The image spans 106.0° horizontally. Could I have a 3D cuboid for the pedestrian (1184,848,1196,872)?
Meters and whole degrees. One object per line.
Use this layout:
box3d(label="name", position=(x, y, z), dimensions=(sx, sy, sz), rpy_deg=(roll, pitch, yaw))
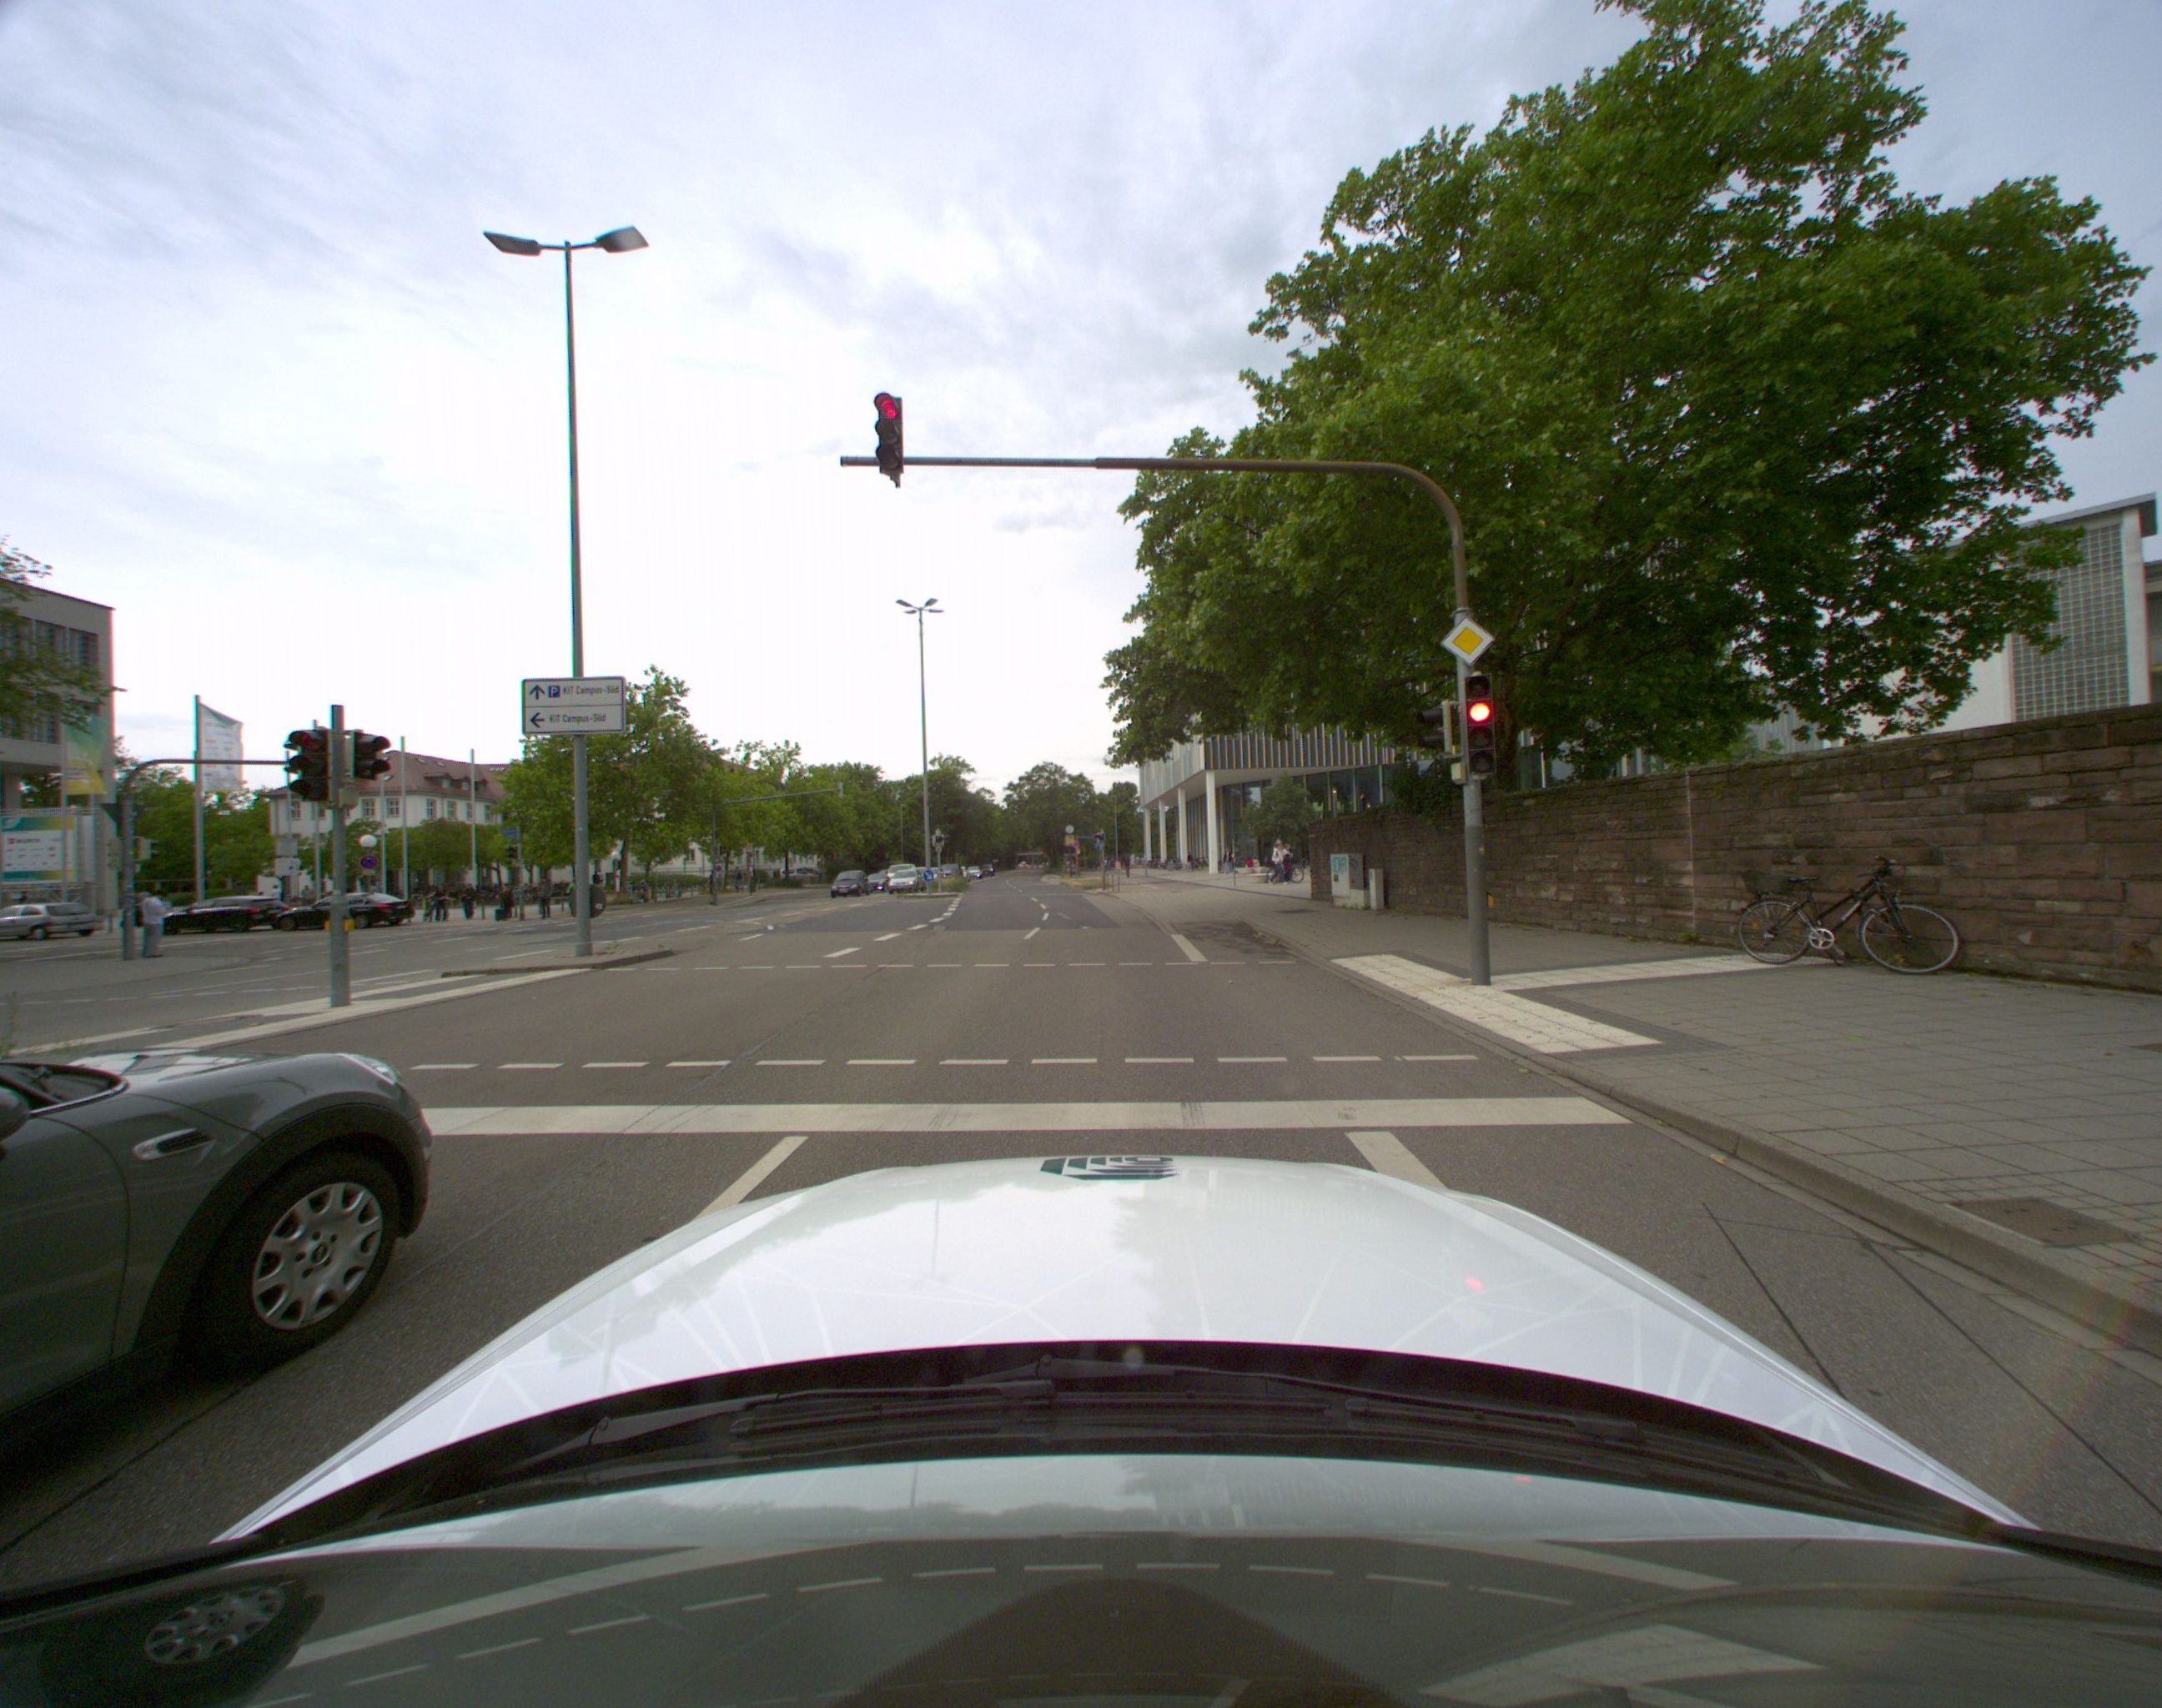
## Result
box3d(label="pedestrian", position=(9.585, 0.521, 71.813), dimensions=(0.889, 2.014, 0.845), rpy_deg=(-2, -1, -1))

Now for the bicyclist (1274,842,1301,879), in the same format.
box3d(label="bicyclist", position=(9.305, 0.297, 36.735), dimensions=(0.957, 1.645, 0.740), rpy_deg=(-1, -1, 37))

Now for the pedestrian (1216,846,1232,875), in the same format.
box3d(label="pedestrian", position=(9.938, 0.446, 56.693), dimensions=(0.840, 2.014, 0.894), rpy_deg=(-2, -1, -1))

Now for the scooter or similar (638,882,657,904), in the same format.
box3d(label="scooter or similar", position=(-23.868, 2.163, 44.855), dimensions=(0.359, 1.140, 1.318), rpy_deg=(-3, -1, -2))

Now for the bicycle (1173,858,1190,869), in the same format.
box3d(label="bicycle", position=(10.157, 0.936, 82.182), dimensions=(1.597, 0.936, 0.570), rpy_deg=(-5, 0, 8))

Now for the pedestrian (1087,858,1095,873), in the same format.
box3d(label="pedestrian", position=(1.394, 1.540, 112.258), dimensions=(0.924, 2.014, 1.037), rpy_deg=(-2, -1, -7))

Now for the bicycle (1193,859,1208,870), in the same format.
box3d(label="bicycle", position=(11.008, 0.949, 75.109), dimensions=(1.496, 0.929, 0.435), rpy_deg=(-3, 1, -41))

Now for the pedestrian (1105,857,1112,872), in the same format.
box3d(label="pedestrian", position=(3.770, 1.392, 112.423), dimensions=(0.822, 2.014, 0.719), rpy_deg=(-3, -1, -3))

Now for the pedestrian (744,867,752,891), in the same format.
box3d(label="pedestrian", position=(-24.216, 1.814, 59.239), dimensions=(0.419, 1.739, 0.433), rpy_deg=(0, -1, -9))

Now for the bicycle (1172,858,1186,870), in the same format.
box3d(label="bicycle", position=(9.216, 0.973, 76.659), dimensions=(0.608, 1.080, 1.954), rpy_deg=(-4, 0, -13))

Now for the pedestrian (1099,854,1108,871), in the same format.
box3d(label="pedestrian", position=(2.834, 1.087, 103.421), dimensions=(0.924, 2.014, 1.037), rpy_deg=(-2, -1, -7))

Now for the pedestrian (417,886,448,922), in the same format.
box3d(label="pedestrian", position=(-28.356, 2.181, 35.627), dimensions=(0.825, 1.513, 0.968), rpy_deg=(0, -1, -22))

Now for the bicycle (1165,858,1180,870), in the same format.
box3d(label="bicycle", position=(9.306, 1.003, 83.058), dimensions=(1.396, 1.043, 0.559), rpy_deg=(-4, -1, -2))

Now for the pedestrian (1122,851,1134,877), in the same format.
box3d(label="pedestrian", position=(3.797, 0.831, 65.920), dimensions=(0.840, 2.013, 0.894), rpy_deg=(-4, -1, -1))

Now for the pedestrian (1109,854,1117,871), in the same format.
box3d(label="pedestrian", position=(4.043, 1.065, 103.388), dimensions=(0.923, 2.014, 1.038), rpy_deg=(-2, -1, -4))

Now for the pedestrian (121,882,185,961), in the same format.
box3d(label="pedestrian", position=(-25.177, 1.812, 22.109), dimensions=(0.664, 2.058, 0.852), rpy_deg=(-2, 0, -2))

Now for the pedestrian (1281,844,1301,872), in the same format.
box3d(label="pedestrian", position=(14.216, 0.282, 55.063), dimensions=(0.849, 1.836, 0.884), rpy_deg=(-2, -1, -39))

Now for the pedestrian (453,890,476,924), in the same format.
box3d(label="pedestrian", position=(-27.254, 2.328, 36.016), dimensions=(0.702, 1.428, 0.991), rpy_deg=(0, -1, -30))

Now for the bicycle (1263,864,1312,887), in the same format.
box3d(label="bicycle", position=(9.282, 0.965, 36.659), dimensions=(1.950, 1.018, 0.801), rpy_deg=(-1, -1, 37))

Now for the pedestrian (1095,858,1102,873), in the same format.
box3d(label="pedestrian", position=(2.373, 1.515, 111.940), dimensions=(0.823, 2.014, 0.718), rpy_deg=(-2, -1, -7))

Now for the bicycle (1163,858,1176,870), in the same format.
box3d(label="bicycle", position=(8.624, 0.957, 79.437), dimensions=(0.635, 1.140, 2.196), rpy_deg=(-5, 0, -6))

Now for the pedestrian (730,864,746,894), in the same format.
box3d(label="pedestrian", position=(-23.570, 1.701, 55.970), dimensions=(0.801, 2.014, 0.923), rpy_deg=(0, -1, -9))

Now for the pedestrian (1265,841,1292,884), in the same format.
box3d(label="pedestrian", position=(8.636, 0.371, 35.575), dimensions=(0.773, 1.795, 0.795), rpy_deg=(-3, -1, 41))

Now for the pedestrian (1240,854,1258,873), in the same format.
box3d(label="pedestrian", position=(11.164, 0.653, 54.032), dimensions=(0.834, 1.206, 0.900), rpy_deg=(-3, -1, 32))

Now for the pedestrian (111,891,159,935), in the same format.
box3d(label="pedestrian", position=(-45.282, 2.807, 38.991), dimensions=(1.000, 2.014, 1.016), rpy_deg=(-2, -1, -3))

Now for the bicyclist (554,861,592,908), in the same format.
box3d(label="bicyclist", position=(-22.453, 1.311, 36.011), dimensions=(1.185, 2.014, 1.272), rpy_deg=(0, -1, -22))

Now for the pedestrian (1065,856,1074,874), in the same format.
box3d(label="pedestrian", position=(-1.340, 1.304, 94.979), dimensions=(0.910, 2.013, 0.853), rpy_deg=(-4, 1, -3))

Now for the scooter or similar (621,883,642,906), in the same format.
box3d(label="scooter or similar", position=(-23.842, 2.149, 43.234), dimensions=(0.359, 1.140, 1.318), rpy_deg=(-3, -1, -2))

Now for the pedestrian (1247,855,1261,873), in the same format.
box3d(label="pedestrian", position=(11.593, 0.682, 54.649), dimensions=(0.885, 1.193, 0.848), rpy_deg=(-2, -1, 12))

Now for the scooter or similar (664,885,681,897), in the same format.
box3d(label="scooter or similar", position=(-25.374, 2.292, 50.625), dimensions=(0.405, 0.693, 1.289), rpy_deg=(0, -1, 1))

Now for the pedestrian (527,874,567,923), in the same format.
box3d(label="pedestrian", position=(-22.615, 1.855, 34.528), dimensions=(1.185, 2.014, 1.134), rpy_deg=(0, -1, -22))

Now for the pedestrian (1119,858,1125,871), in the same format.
box3d(label="pedestrian", position=(5.174, 1.371, 103.859), dimensions=(0.726, 1.684, 0.747), rpy_deg=(0, -1, 1))

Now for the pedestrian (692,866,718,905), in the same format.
box3d(label="pedestrian", position=(-20.065, 1.683, 43.493), dimensions=(0.892, 2.014, 1.008), rpy_deg=(-2, -1, -4))

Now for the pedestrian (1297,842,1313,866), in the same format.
box3d(label="pedestrian", position=(19.558, -0.008, 71.096), dimensions=(1.170, 2.062, 1.142), rpy_deg=(-1, -1, 29))
